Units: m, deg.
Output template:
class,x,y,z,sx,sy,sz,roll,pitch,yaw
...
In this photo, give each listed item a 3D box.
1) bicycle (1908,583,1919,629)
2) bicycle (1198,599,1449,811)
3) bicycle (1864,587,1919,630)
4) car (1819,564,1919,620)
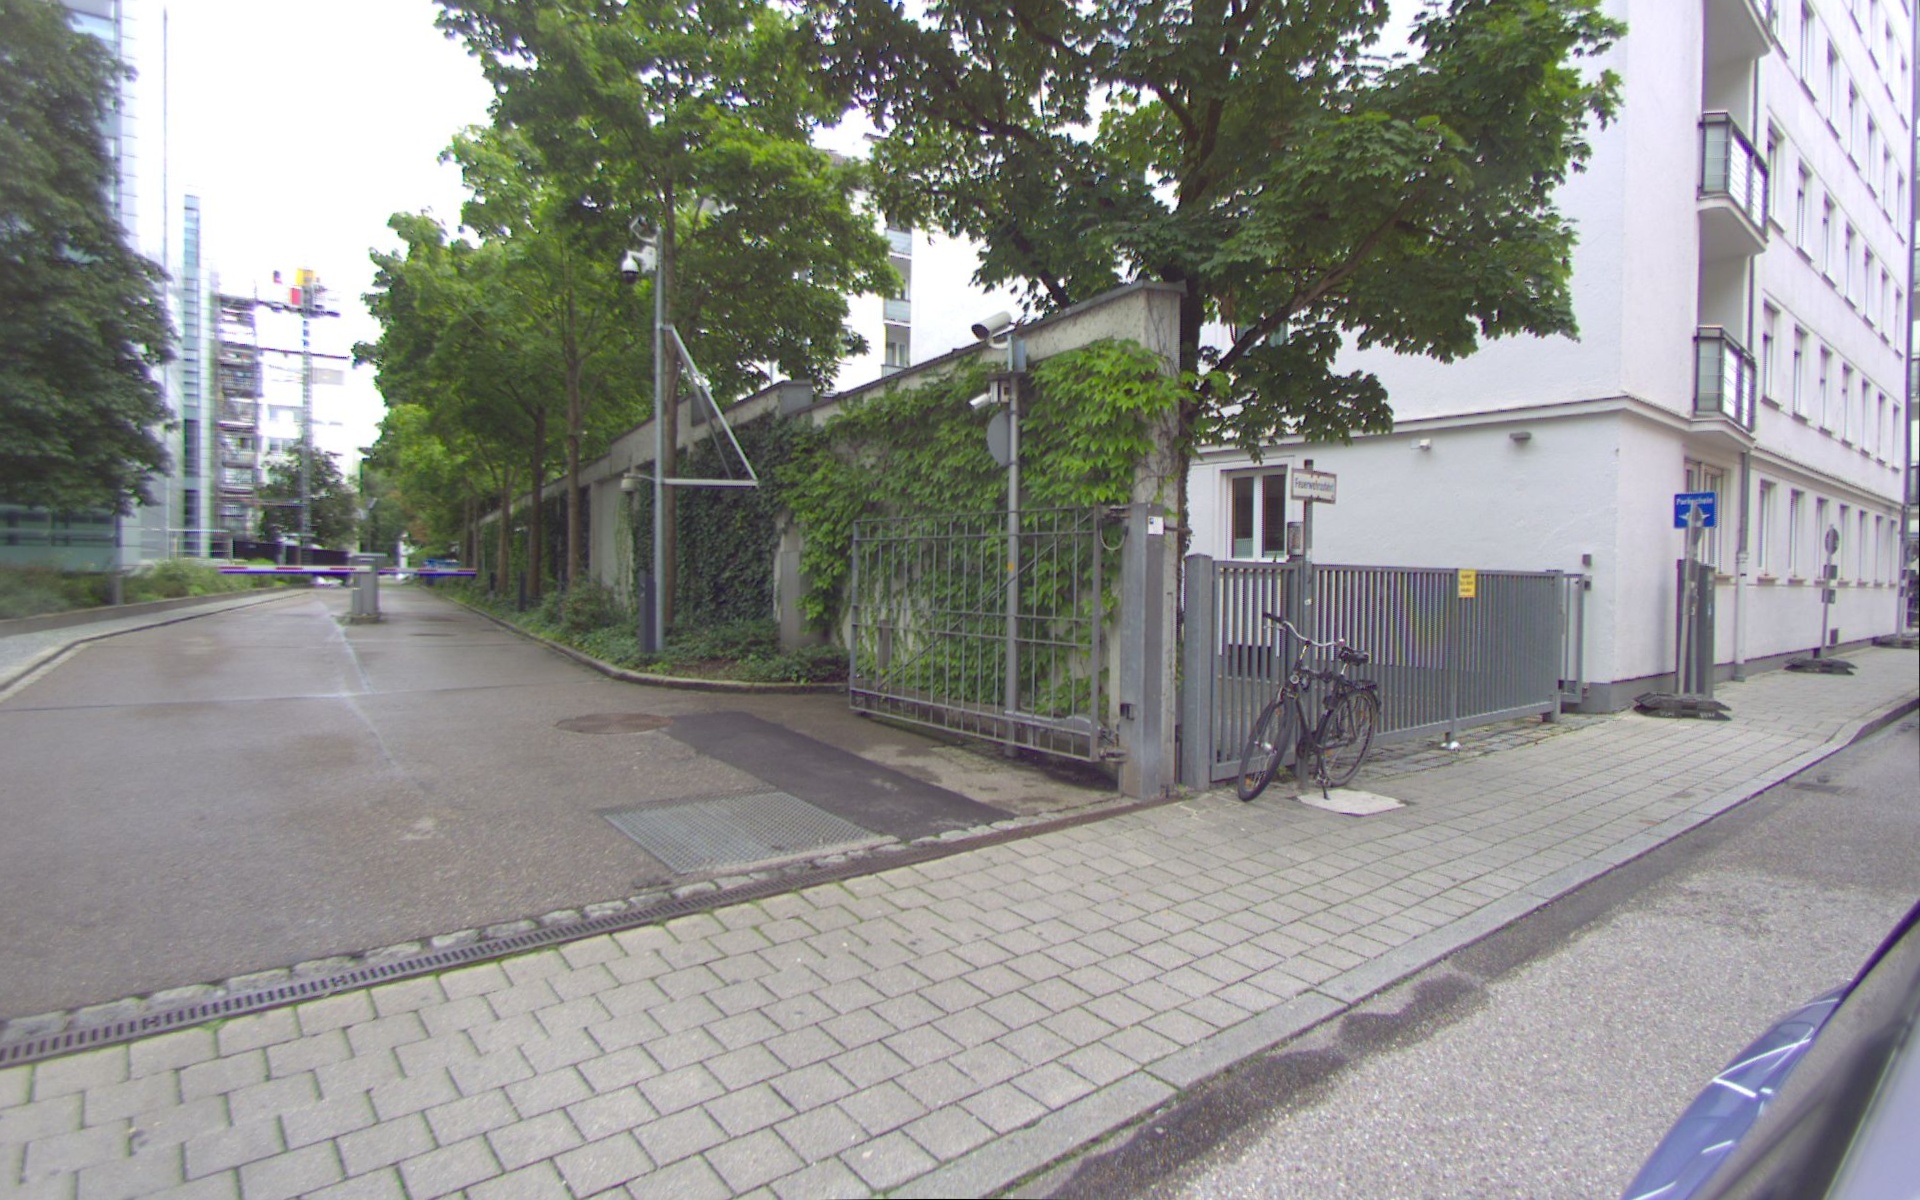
class,x,y,z,sx,sy,sz,roll,pitch,yaw
bicycle,26.262,0.189,27.367,0.395,1.219,1.493,3,4,25
bicycle,2.458,0.649,6.737,1.800,1.213,0.709,3,-1,-40
bicycle,24.676,0.233,26.439,1.490,1.056,0.394,4,4,32
car,33.807,-0.282,35.887,1.895,1.914,4.688,0,2,-31
